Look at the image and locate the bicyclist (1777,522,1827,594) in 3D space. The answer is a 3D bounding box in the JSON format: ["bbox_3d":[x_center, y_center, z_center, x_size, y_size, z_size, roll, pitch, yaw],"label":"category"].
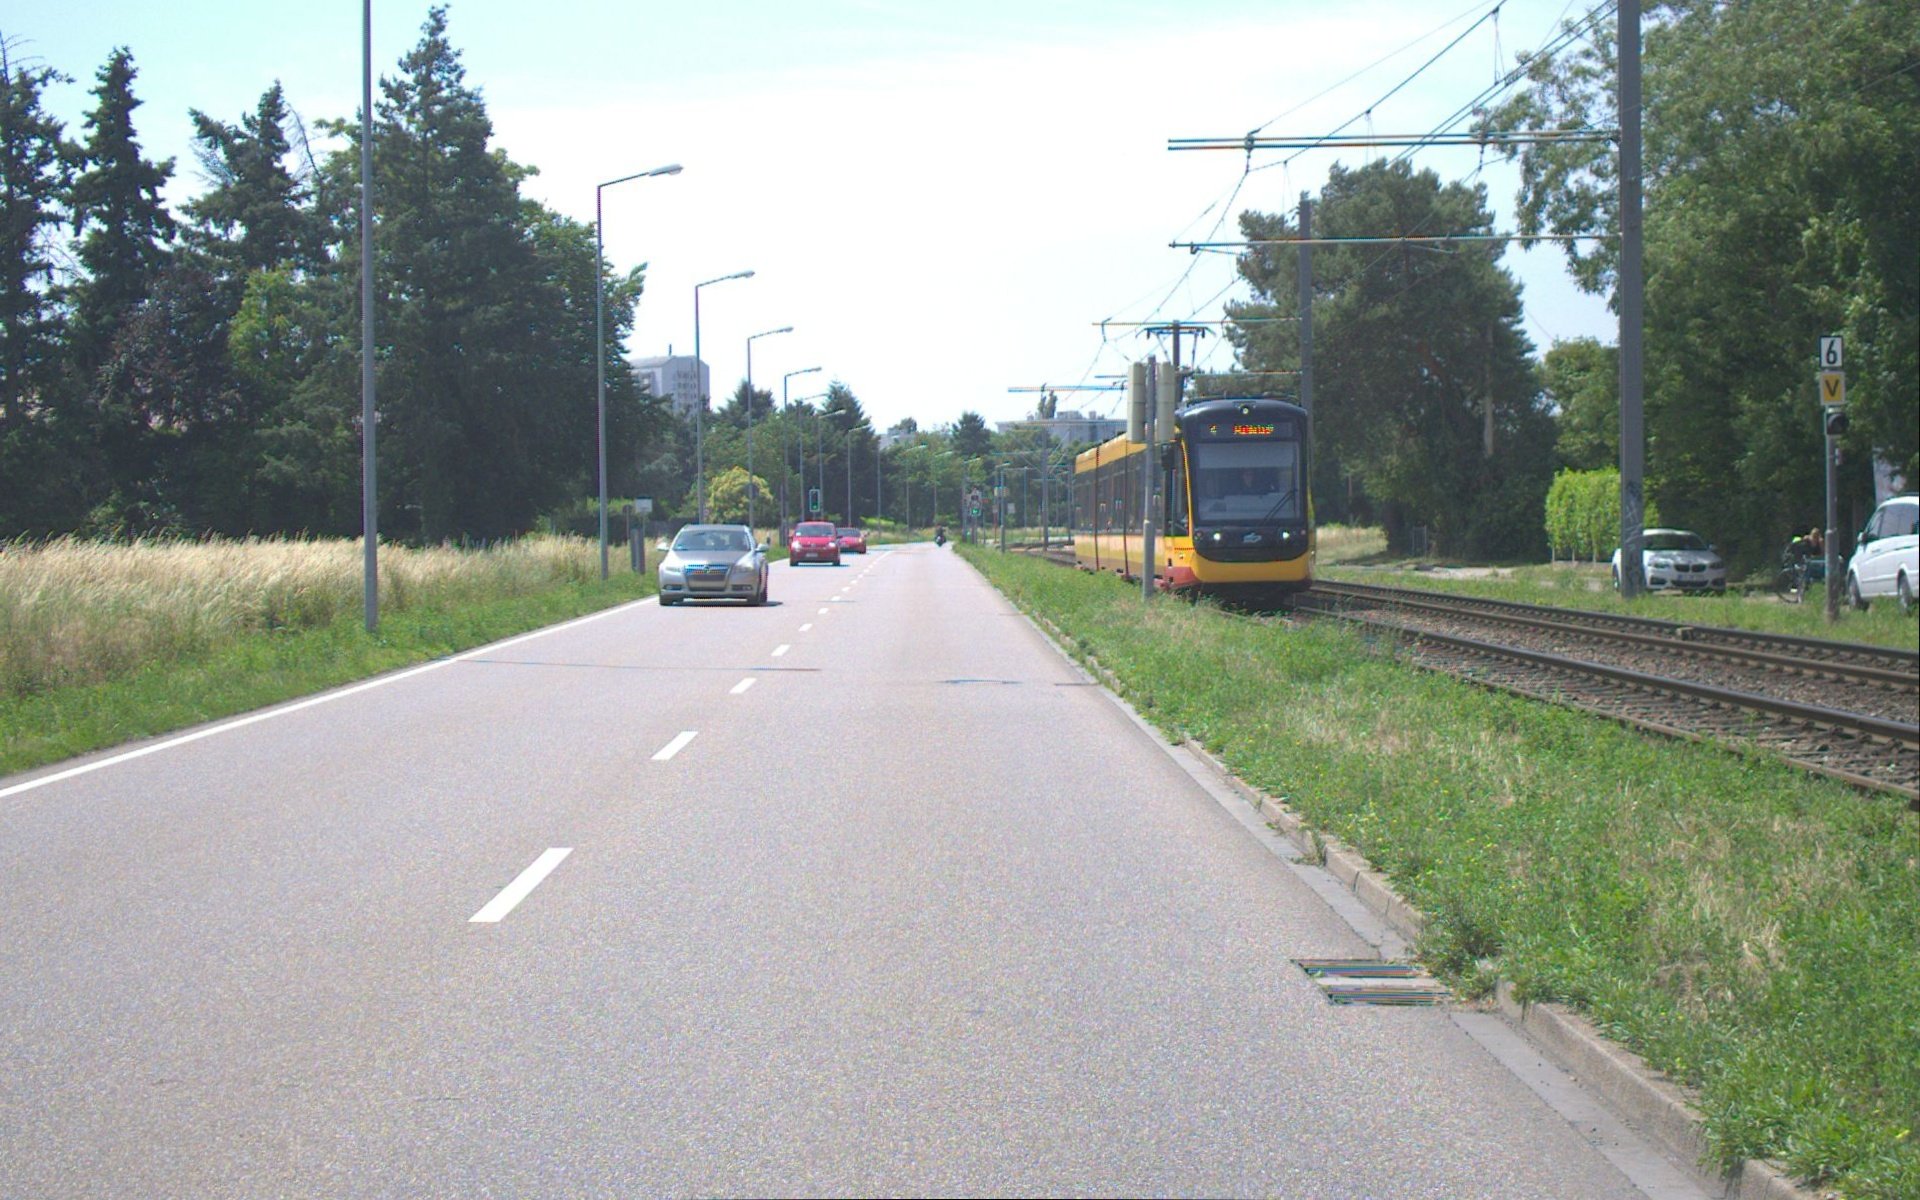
[{"bbox_3d":[15.890,-0.784,64.866,0.701,1.333,0.904,-1,0,-1],"label":"bicyclist"}]

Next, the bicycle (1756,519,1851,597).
[{"bbox_3d":[15.983,-0.791,65.263,0.928,1.425,3.385,-1,1,-1],"label":"bicycle"}]

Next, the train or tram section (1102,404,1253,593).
[{"bbox_3d":[4.449,-2.038,71.503,2.560,3.701,6.730,-1,0,-1],"label":"train or tram section"}]

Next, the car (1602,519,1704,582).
[{"bbox_3d":[14.763,-1.048,73.367,1.428,1.303,3.466,-1,1,-1],"label":"car"}]

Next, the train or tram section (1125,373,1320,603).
[{"bbox_3d":[4.595,-1.897,62.309,2.429,3.753,11.560,-1,1,-1],"label":"train or tram section"}]

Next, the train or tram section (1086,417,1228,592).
[{"bbox_3d":[4.403,-2.109,78.224,2.701,3.753,6.730,-1,0,-1],"label":"train or tram section"}]

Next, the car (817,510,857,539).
[{"bbox_3d":[-5.806,-3.547,162.728,1.807,1.281,4.286,-1,1,-1],"label":"car"}]

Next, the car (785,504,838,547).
[{"bbox_3d":[-4.975,-2.488,115.347,1.645,1.395,3.845,-1,1,-1],"label":"car"}]

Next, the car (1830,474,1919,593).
[{"bbox_3d":[15.362,-1.038,54.243,1.993,1.796,4.794,-1,1,-1],"label":"car"}]

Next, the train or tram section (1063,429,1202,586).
[{"bbox_3d":[4.268,-2.244,87.234,2.765,3.677,11.187,-1,1,-1],"label":"train or tram section"}]

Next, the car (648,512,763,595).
[{"bbox_3d":[-4.691,-0.842,63.841,1.834,1.462,4.678,-1,0,-1],"label":"car"}]
